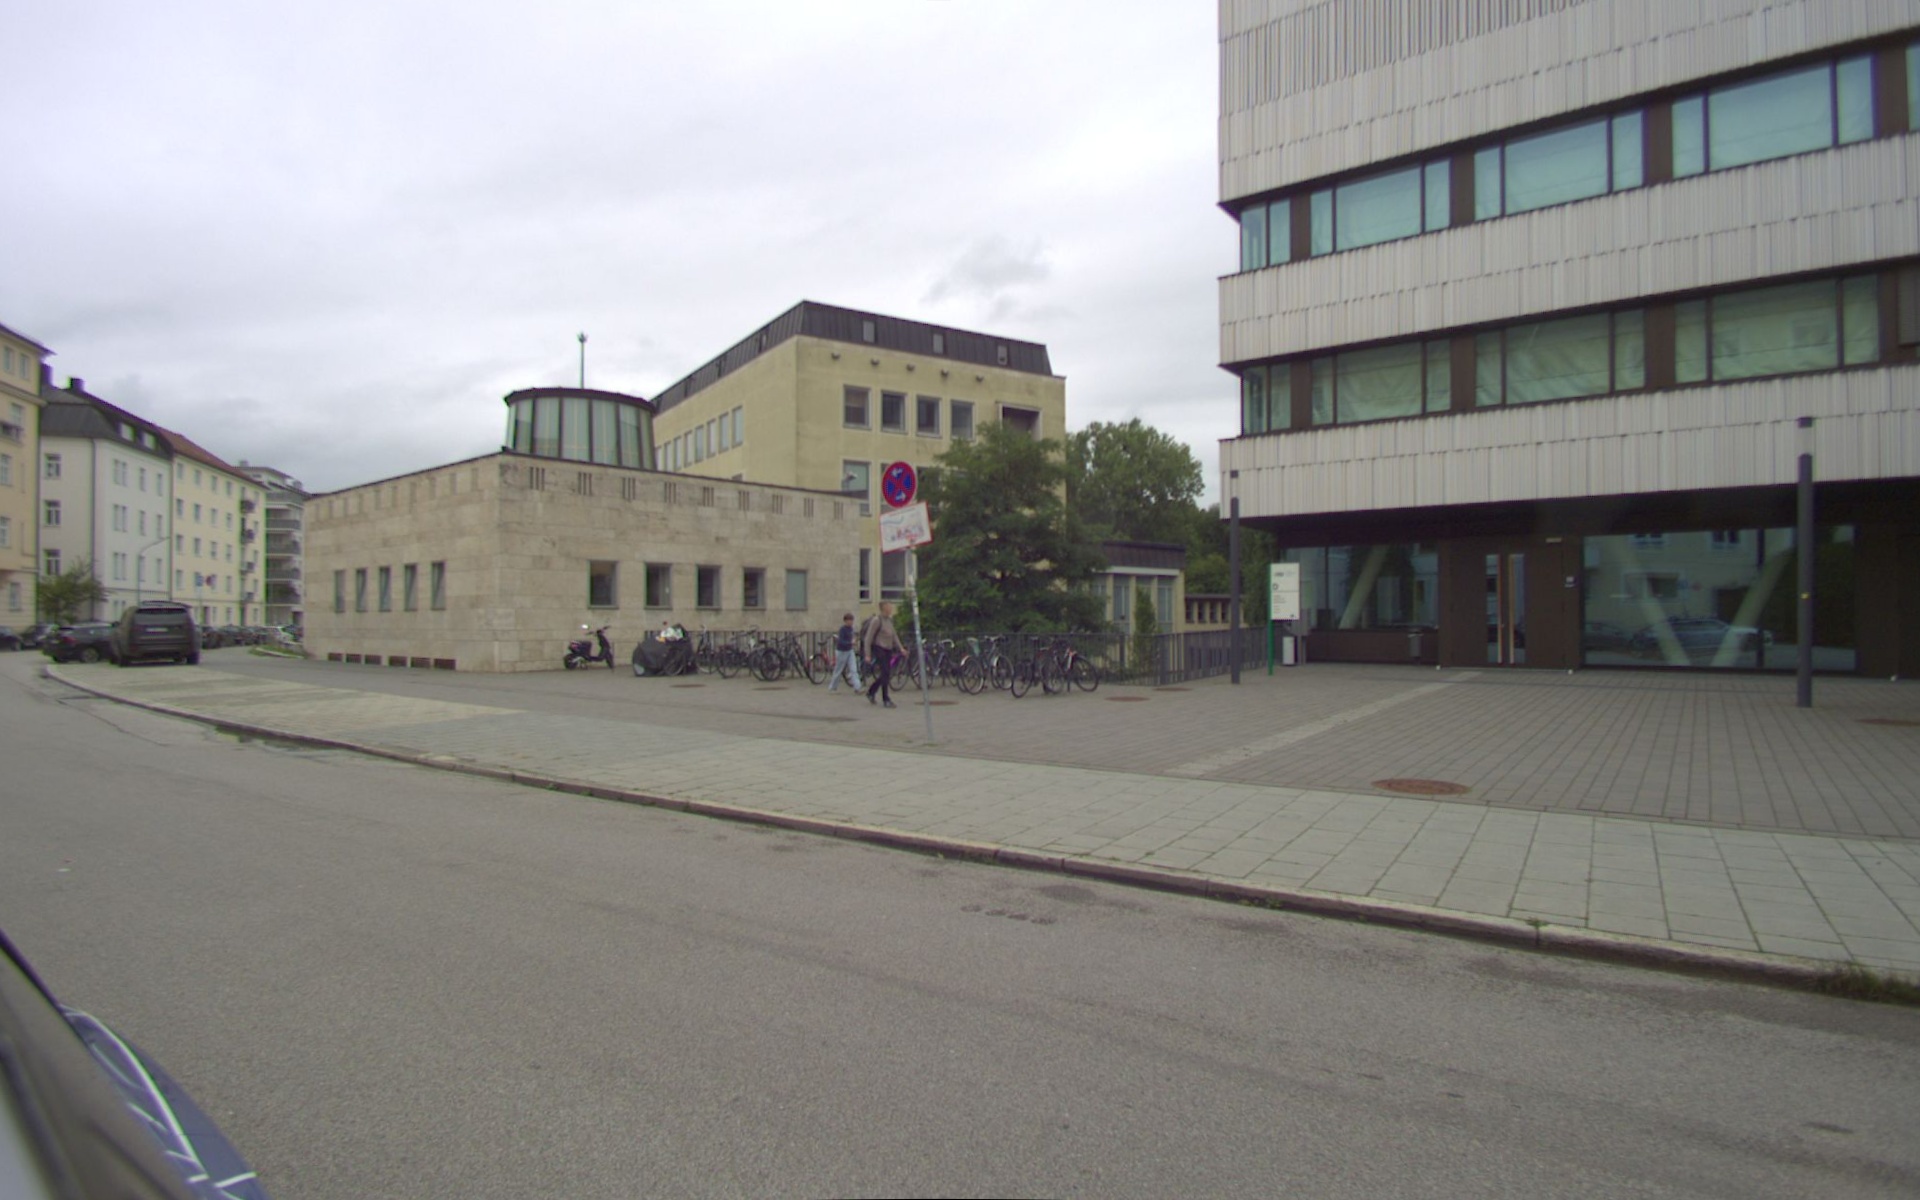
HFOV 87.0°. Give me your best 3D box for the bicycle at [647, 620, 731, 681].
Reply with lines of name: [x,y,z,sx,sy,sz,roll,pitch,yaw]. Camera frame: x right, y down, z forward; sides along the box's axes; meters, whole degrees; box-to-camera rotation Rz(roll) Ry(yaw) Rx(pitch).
bicycle: [-6.670,1.228,25.004,0.612,1.362,2.079,-2,0,35]

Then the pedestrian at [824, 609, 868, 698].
pedestrian: [-2.142,0.996,19.067,0.600,1.613,0.642,-2,-1,11]

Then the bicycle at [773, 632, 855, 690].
bicycle: [-3.129,1.296,21.871,0.614,1.119,2.032,-2,0,29]

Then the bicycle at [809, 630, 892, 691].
bicycle: [-2.244,1.227,20.998,0.614,1.119,2.032,-2,0,29]

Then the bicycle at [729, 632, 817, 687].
bicycle: [-4.230,1.331,22.991,0.616,1.119,2.025,-2,0,40]

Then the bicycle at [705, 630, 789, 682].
bicycle: [-5.123,1.338,24.411,0.616,1.119,2.025,-2,0,39]

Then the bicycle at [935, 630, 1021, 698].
bicycle: [0.368,1.179,19.030,0.615,1.119,2.029,-2,0,33]

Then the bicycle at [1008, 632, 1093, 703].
bicycle: [1.652,1.174,18.181,0.615,1.119,2.029,-2,0,33]

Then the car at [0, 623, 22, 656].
car: [-52.102,2.150,53.897,1.811,1.743,3.742,-2,0,-19]

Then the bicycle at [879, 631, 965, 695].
bicycle: [-0.727,1.222,19.992,0.615,1.119,2.029,-2,0,33]

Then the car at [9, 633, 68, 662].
car: [-54.076,2.772,59.434,1.487,1.568,2.871,-2,0,-18]

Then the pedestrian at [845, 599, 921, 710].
pedestrian: [-1.293,0.894,17.069,1.009,1.796,0.782,0,0,26]

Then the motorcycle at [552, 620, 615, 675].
motorcycle: [-10.283,1.278,27.679,0.514,1.416,1.549,-2,-1,38]

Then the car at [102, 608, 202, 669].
car: [-25.804,1.214,32.255,4.817,1.785,1.971,-2,-2,45]

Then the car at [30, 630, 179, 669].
car: [-32.402,1.881,38.478,1.735,1.384,3.983,1,-3,18]

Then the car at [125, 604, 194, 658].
car: [-41.121,1.605,52.138,2.114,2.594,6.228,2,-2,-33]
